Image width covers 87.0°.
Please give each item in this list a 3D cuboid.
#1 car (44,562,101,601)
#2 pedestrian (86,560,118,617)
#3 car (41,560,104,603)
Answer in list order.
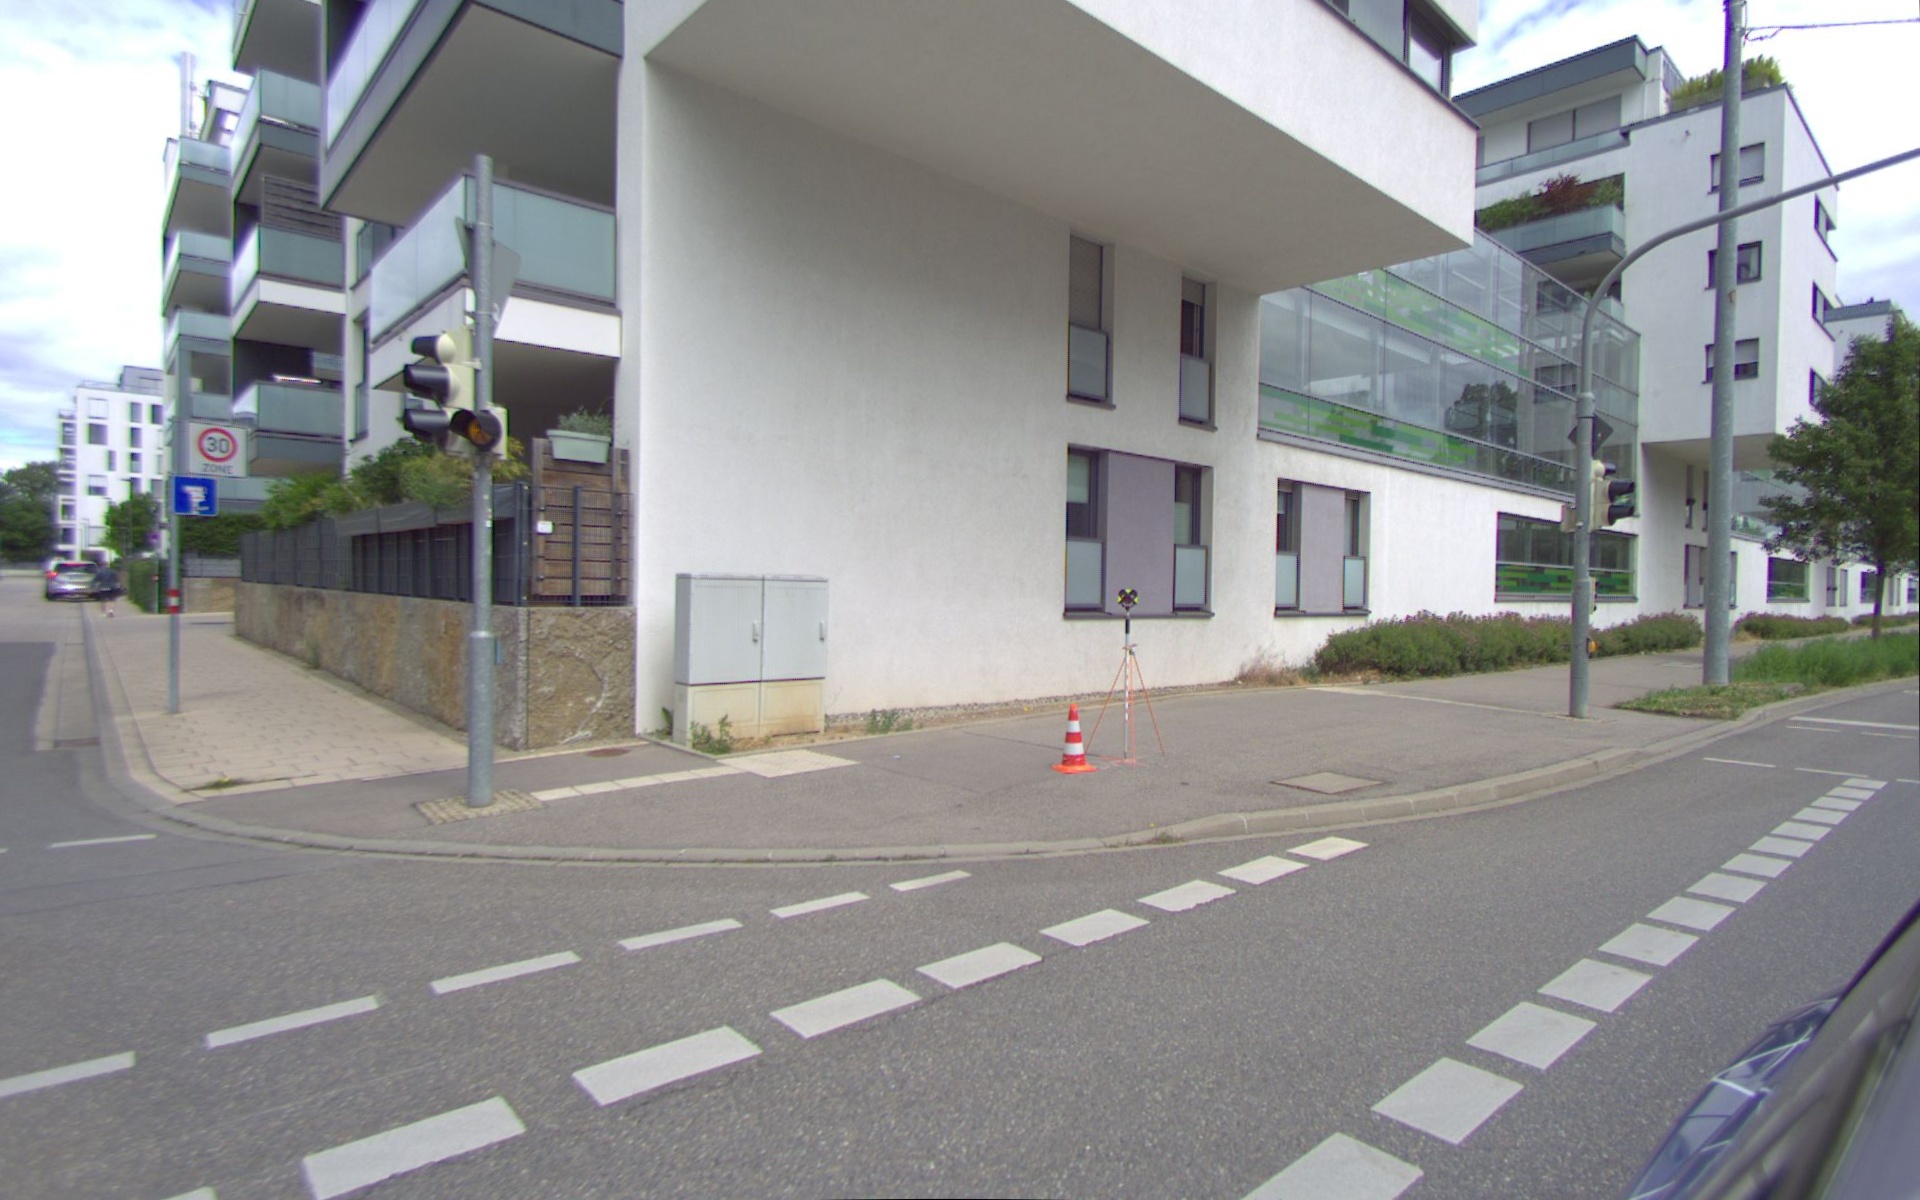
[{"bbox_3d":[-44.309,-0.913,50.605,1.964,1.805,3.995,-1,0,-39],"label":"car"},{"bbox_3d":[-26.962,-0.362,31.802,0.652,1.784,0.717,-2,-1,45],"label":"pedestrian"},{"bbox_3d":[-39.668,-0.805,45.290,1.964,1.805,3.995,-1,0,-39],"label":"car"}]
